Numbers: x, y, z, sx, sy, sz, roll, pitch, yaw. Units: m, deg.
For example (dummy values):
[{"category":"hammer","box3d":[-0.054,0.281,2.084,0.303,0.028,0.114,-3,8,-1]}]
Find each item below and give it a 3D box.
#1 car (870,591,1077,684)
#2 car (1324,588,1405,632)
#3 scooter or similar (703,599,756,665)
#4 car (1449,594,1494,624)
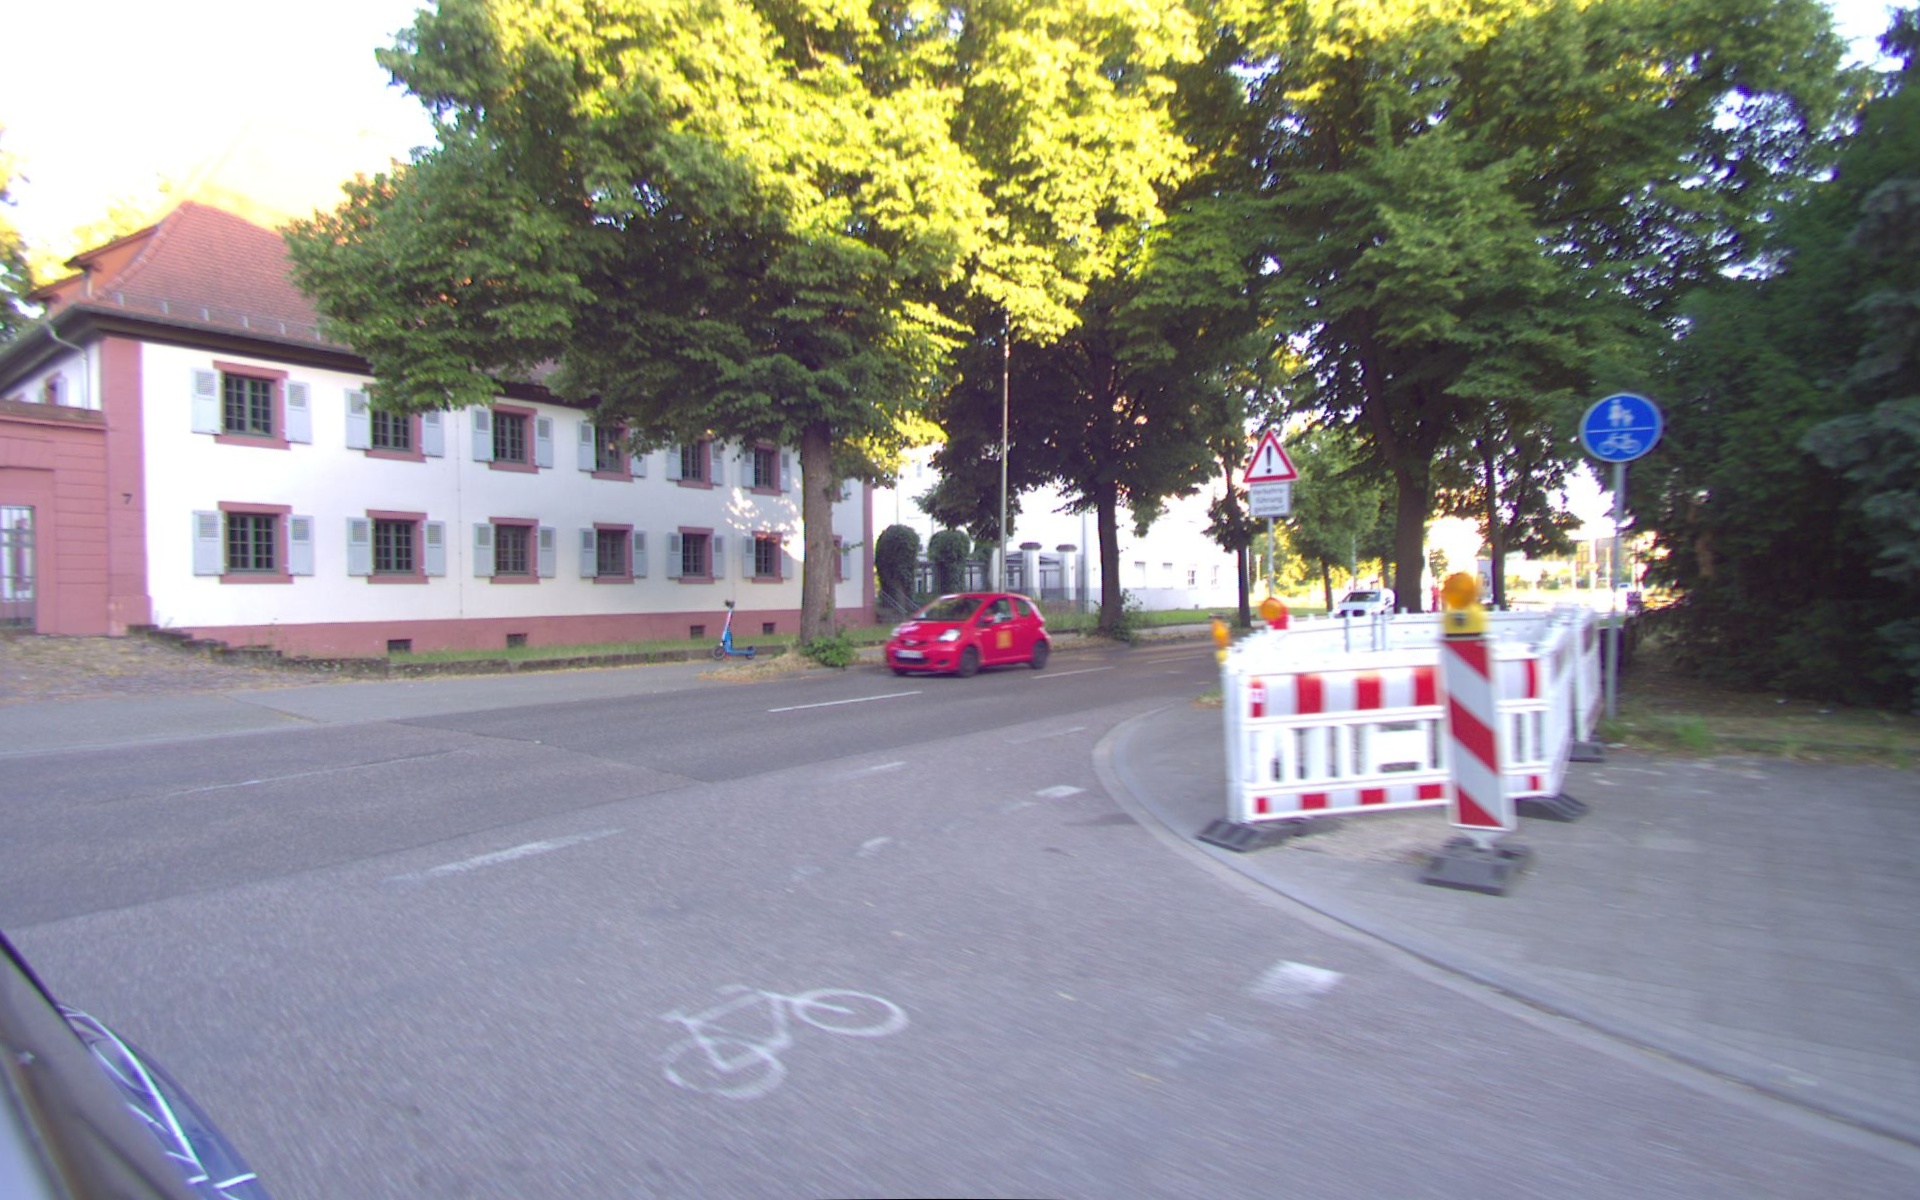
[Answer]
[{"category":"car","box3d":[0.386,0.596,18.484,1.616,1.423,4.359,-2,0,35]},{"category":"car","box3d":[16.063,0.366,40.037,1.789,1.568,4.353,-2,0,38]},{"category":"scooter or similar","box3d":[-4.666,0.629,20.555,0.239,1.285,1.253,0,1,31]},{"category":"car","box3d":[29.709,0.506,58.731,1.787,1.568,4.359,-2,0,34]}]
